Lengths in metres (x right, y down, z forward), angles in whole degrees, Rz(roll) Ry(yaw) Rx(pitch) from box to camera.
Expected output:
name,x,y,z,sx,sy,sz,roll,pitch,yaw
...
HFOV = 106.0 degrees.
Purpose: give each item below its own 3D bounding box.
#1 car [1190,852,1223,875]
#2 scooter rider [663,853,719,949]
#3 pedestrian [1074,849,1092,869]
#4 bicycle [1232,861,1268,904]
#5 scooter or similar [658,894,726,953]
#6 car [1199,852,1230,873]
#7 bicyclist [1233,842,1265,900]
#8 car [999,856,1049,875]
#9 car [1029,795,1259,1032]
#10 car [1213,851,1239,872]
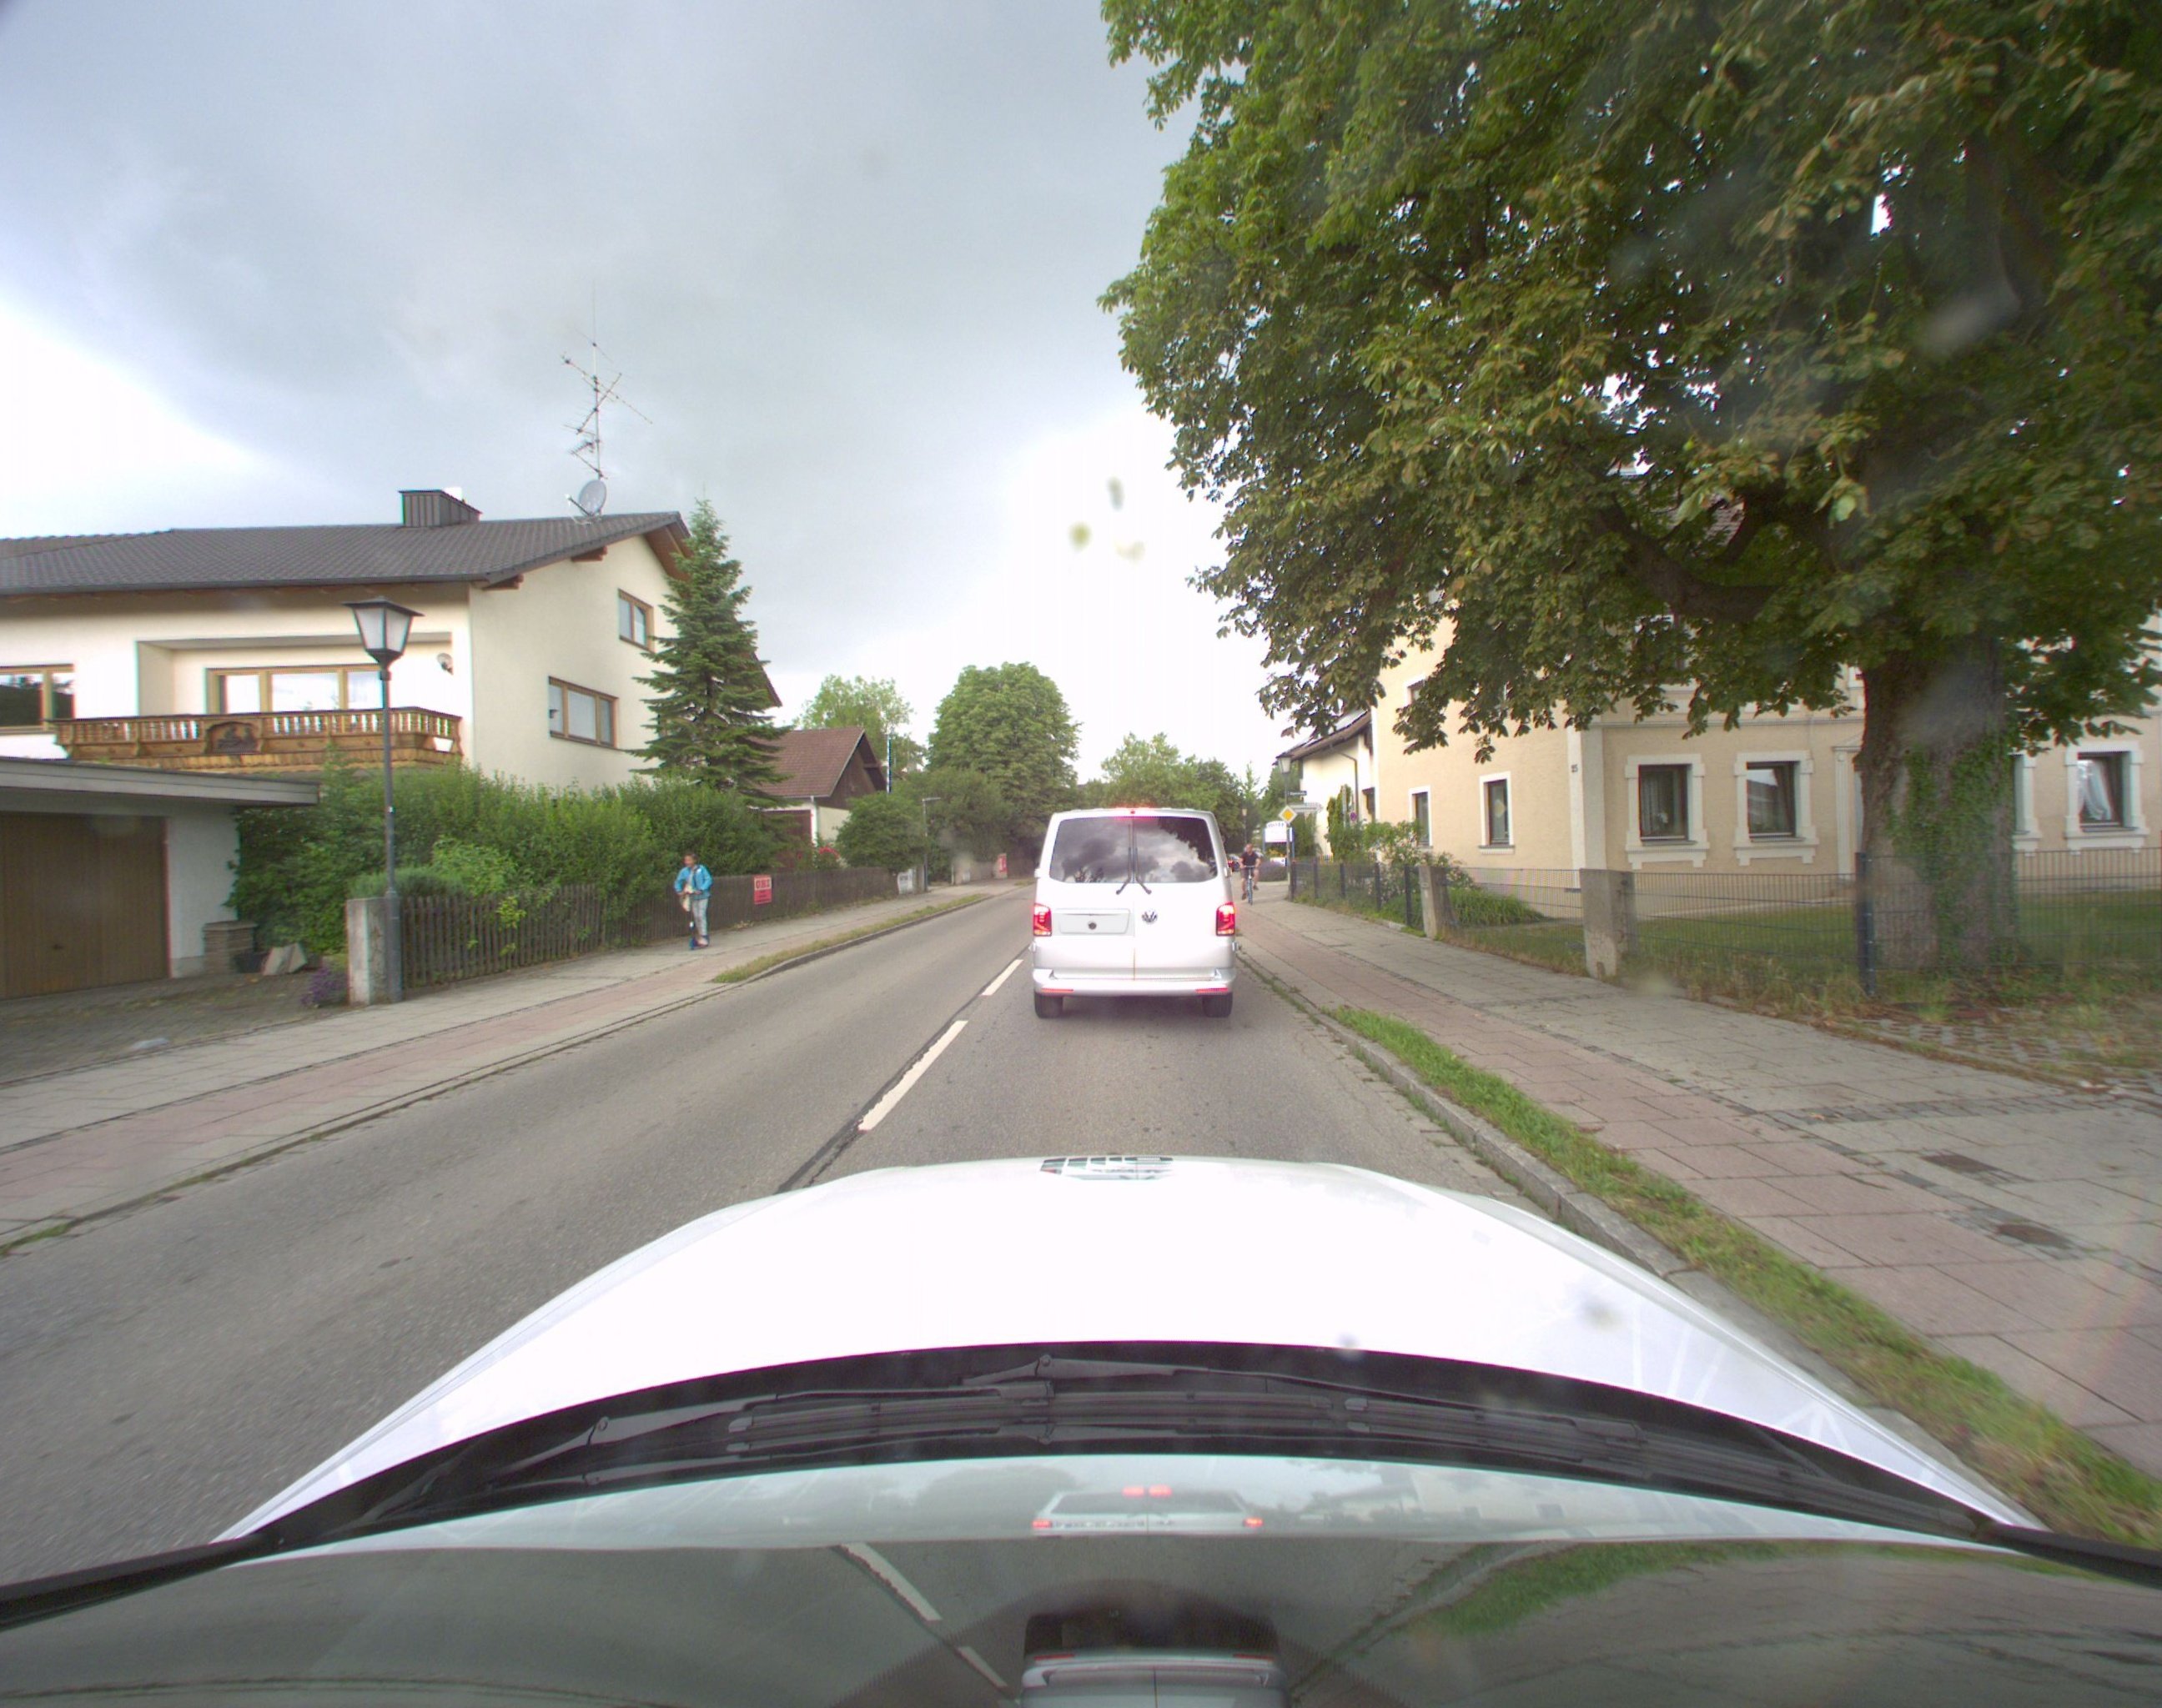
name,x,y,z,sx,sy,sz,roll,pitch,yaw
car,8.891,0.665,57.494,1.868,1.535,3.936,-1,0,14
scooter rider,-6.233,0.737,13.043,0.500,1.489,0.717,-1,0,3
pedestrian,0.183,0.489,76.121,1.330,1.803,1.056,-1,0,-43
bicycle,4.931,0.811,23.865,0.761,1.143,1.847,-2,0,4
scooter or similar,-6.202,1.087,13.033,0.519,0.850,1.062,-1,0,3
car,10.423,0.672,63.421,1.867,1.535,3.937,-1,0,16
bicyclist,4.901,0.499,23.795,0.733,1.632,0.891,-2,0,3
car,-4.597,0.924,65.642,3.982,1.486,1.996,-1,0,-6
car,0.623,0.504,8.779,1.873,1.940,3.923,-1,0,3
car,12.559,0.599,70.297,1.867,1.748,4.096,-2,0,15
